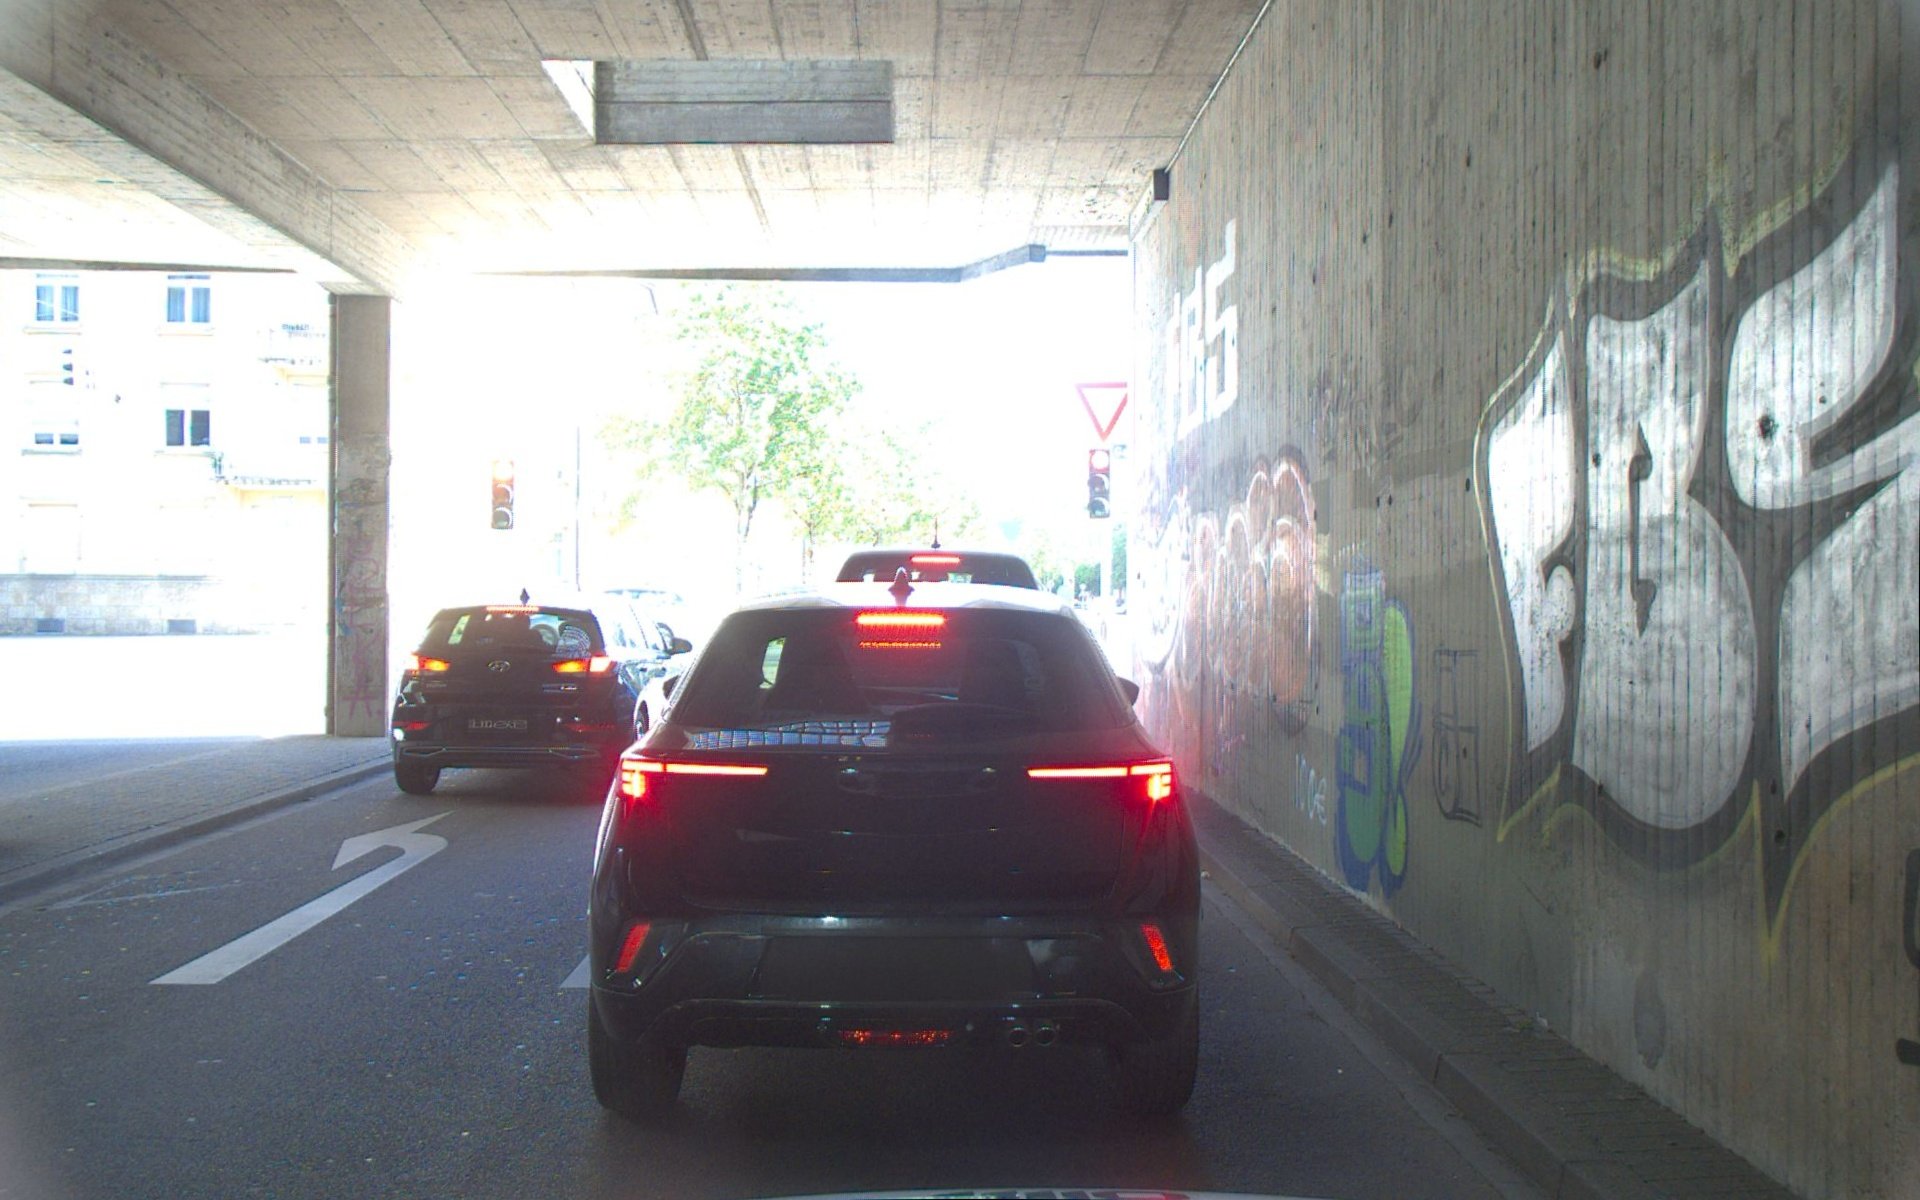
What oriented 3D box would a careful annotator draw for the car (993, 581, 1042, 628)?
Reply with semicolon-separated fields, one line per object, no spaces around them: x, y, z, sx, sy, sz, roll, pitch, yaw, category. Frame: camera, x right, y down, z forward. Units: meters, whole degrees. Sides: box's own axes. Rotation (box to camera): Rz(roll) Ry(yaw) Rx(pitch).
2.188;0.177;62.192;1.717;1.696;3.946;1;0;3;car

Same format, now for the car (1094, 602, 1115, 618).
15.461;1.085;176.862;1.778;1.696;4.819;1;0;11;car

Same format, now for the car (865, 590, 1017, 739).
-0.228;0.665;19.212;1.576;1.539;4.053;0;0;-1;car

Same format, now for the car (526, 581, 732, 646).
-7.430;0.297;37.386;4.189;1.423;1.884;0;0;4;car

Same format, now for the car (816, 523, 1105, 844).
-0.022;0.498;11.998;1.726;1.915;4.145;0;0;-1;car

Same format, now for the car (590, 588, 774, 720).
-3.409;0.615;20.916;1.726;1.506;3.843;0;0;-1;car

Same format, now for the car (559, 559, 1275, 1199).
-0.128;0.680;6.053;1.726;1.558;4.088;0;0;-1;car

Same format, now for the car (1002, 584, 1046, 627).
2.678;0.212;68.318;1.717;1.696;3.946;1;0;3;car

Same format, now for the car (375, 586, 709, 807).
-3.139;0.654;13.196;1.726;1.506;3.843;0;0;-1;car
